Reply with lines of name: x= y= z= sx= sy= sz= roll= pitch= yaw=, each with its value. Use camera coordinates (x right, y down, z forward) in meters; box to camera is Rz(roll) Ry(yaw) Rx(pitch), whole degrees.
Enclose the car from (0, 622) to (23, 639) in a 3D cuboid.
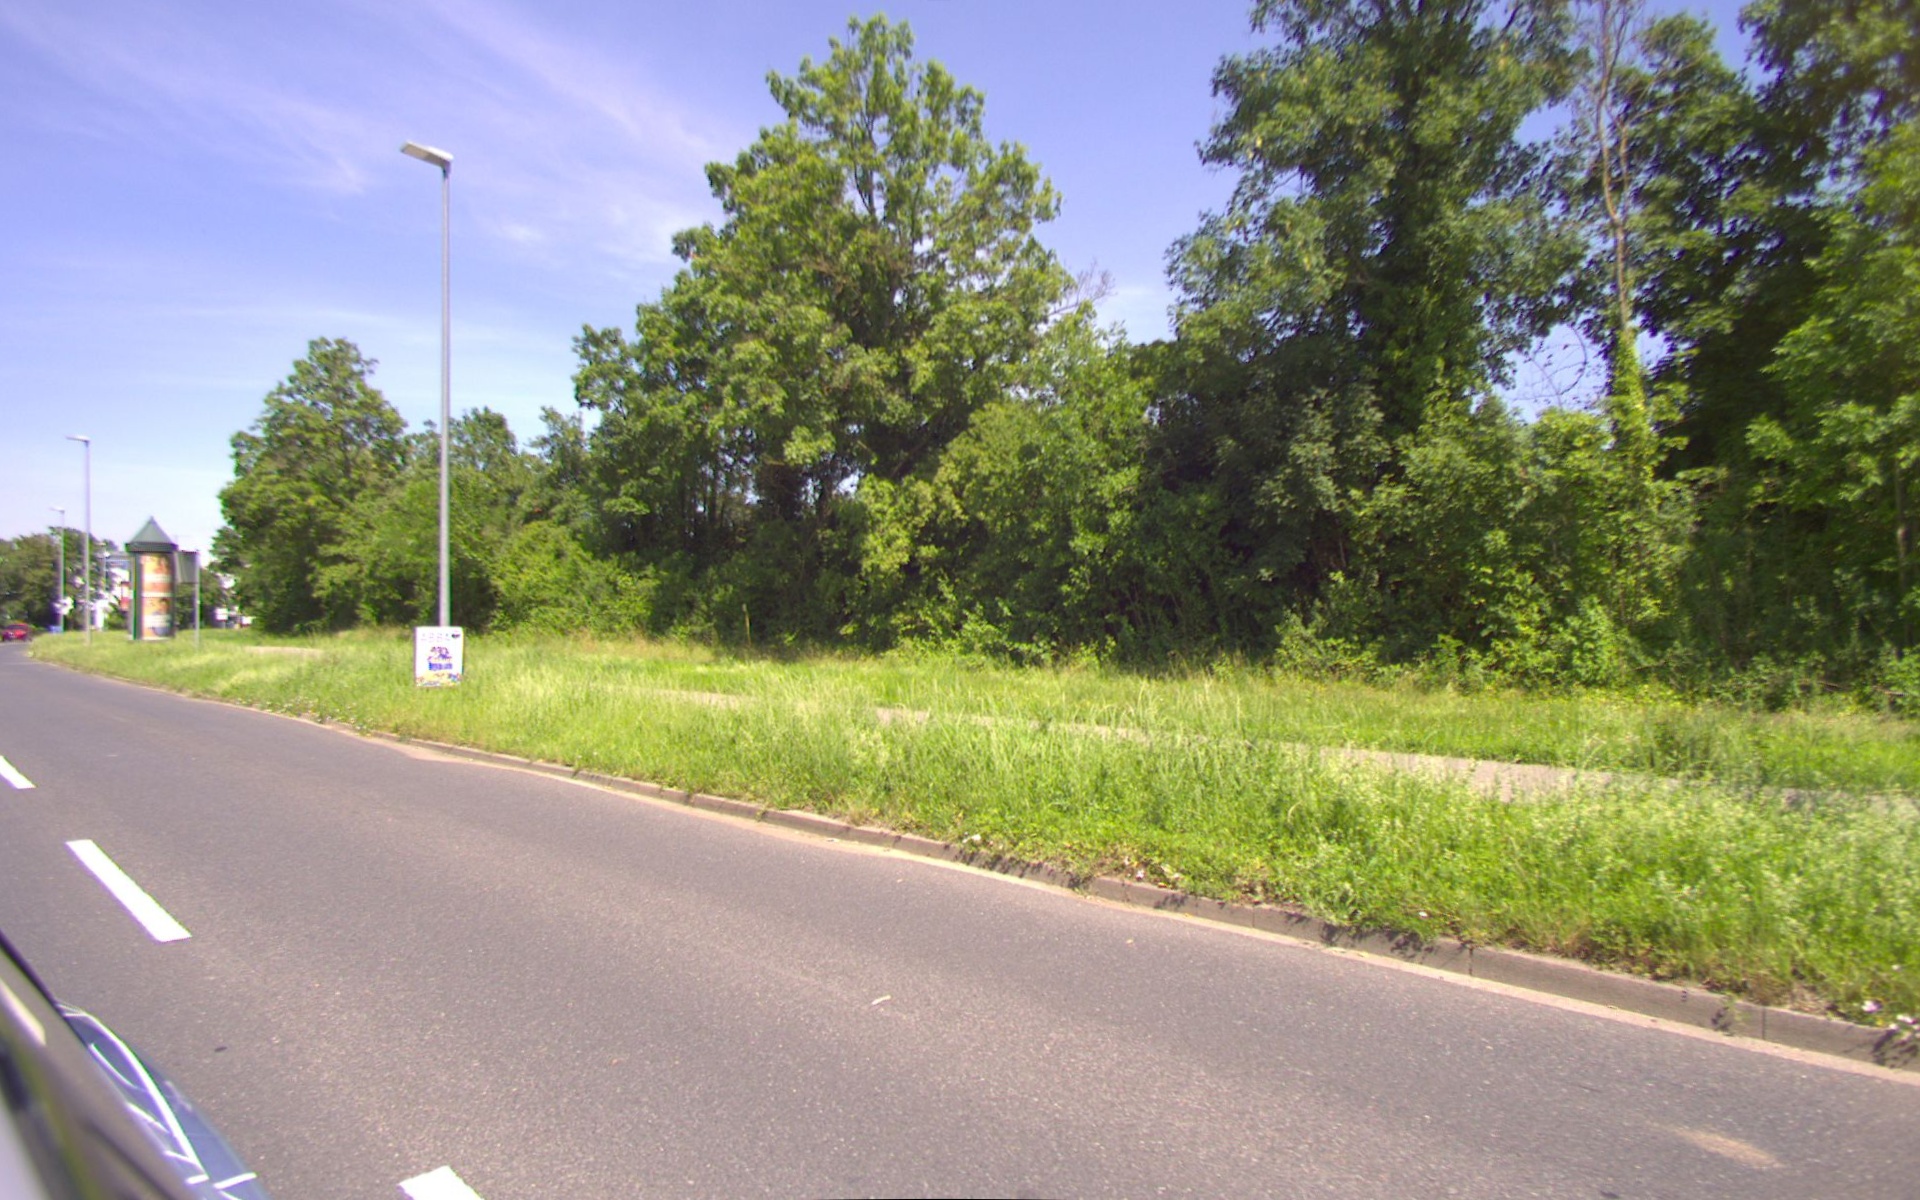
car: x=-81.270 y=2.614 z=86.393 sx=1.687 sy=1.386 sz=3.681 roll=-1 pitch=0 yaw=-40
